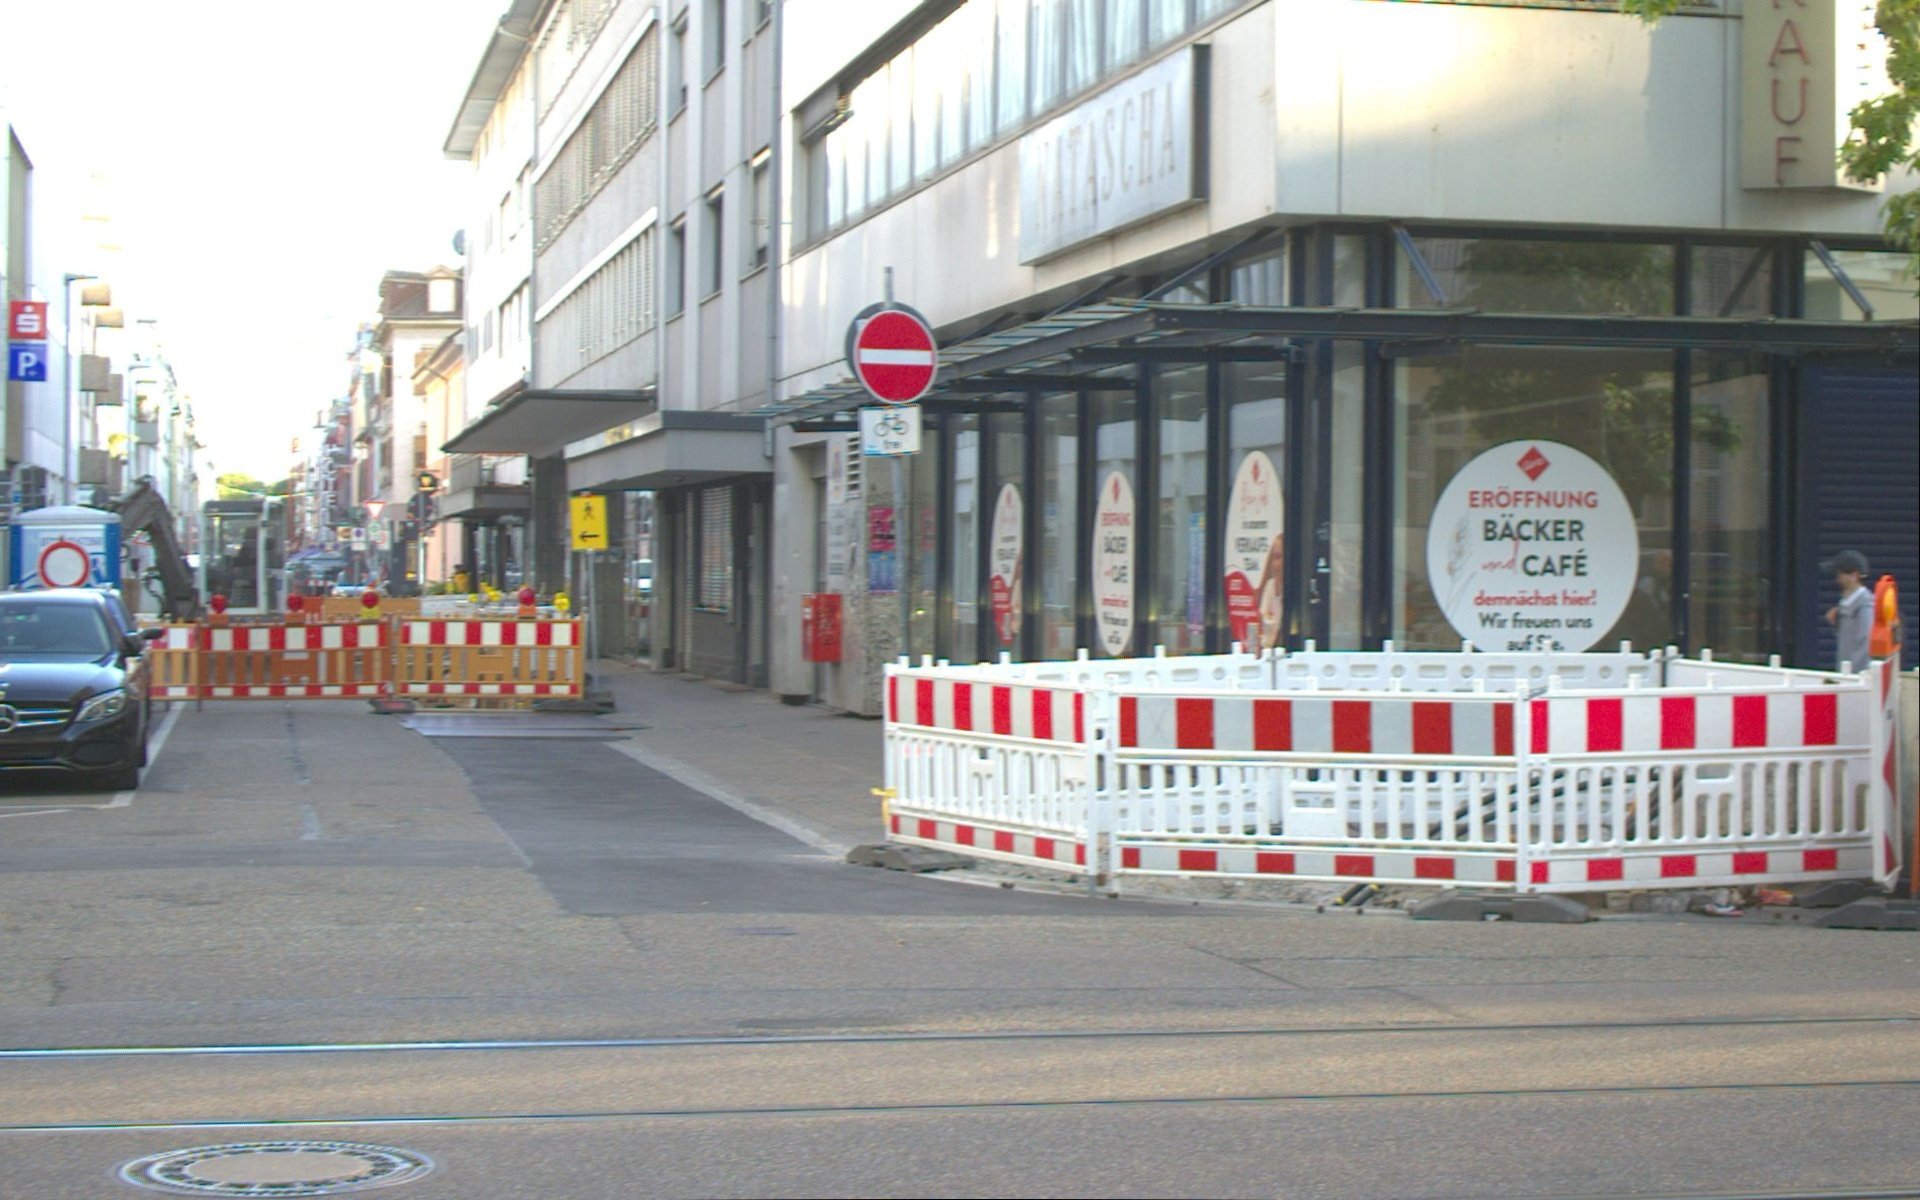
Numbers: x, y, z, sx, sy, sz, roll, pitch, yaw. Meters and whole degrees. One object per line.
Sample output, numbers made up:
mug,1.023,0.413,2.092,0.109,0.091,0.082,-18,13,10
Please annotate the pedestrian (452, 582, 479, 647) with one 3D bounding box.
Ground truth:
pedestrian,-11.119,0.325,77.295,0.524,1.459,0.718,1,0,-3

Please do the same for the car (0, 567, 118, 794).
car,-7.043,0.541,25.226,1.629,1.545,3.143,0,1,-14

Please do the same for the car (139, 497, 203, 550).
car,-27.058,-2.623,117.959,1.993,1.770,4.001,0,1,-11

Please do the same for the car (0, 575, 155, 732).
car,-8.963,0.495,34.196,1.789,1.446,3.143,0,1,-14

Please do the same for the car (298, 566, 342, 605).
car,-30.267,-0.700,162.538,1.993,1.770,4.001,0,1,-11

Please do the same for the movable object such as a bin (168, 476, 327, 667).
movable object such as a bin,-10.405,-0.421,50.289,2.156,2.654,4.574,0,1,-11

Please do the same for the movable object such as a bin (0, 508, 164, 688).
movable object such as a bin,-10.457,-0.055,40.347,1.993,2.007,4.001,0,1,-11

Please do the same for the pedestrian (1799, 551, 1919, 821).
pedestrian,5.355,0.490,20.065,0.704,1.544,0.579,0,1,-14
